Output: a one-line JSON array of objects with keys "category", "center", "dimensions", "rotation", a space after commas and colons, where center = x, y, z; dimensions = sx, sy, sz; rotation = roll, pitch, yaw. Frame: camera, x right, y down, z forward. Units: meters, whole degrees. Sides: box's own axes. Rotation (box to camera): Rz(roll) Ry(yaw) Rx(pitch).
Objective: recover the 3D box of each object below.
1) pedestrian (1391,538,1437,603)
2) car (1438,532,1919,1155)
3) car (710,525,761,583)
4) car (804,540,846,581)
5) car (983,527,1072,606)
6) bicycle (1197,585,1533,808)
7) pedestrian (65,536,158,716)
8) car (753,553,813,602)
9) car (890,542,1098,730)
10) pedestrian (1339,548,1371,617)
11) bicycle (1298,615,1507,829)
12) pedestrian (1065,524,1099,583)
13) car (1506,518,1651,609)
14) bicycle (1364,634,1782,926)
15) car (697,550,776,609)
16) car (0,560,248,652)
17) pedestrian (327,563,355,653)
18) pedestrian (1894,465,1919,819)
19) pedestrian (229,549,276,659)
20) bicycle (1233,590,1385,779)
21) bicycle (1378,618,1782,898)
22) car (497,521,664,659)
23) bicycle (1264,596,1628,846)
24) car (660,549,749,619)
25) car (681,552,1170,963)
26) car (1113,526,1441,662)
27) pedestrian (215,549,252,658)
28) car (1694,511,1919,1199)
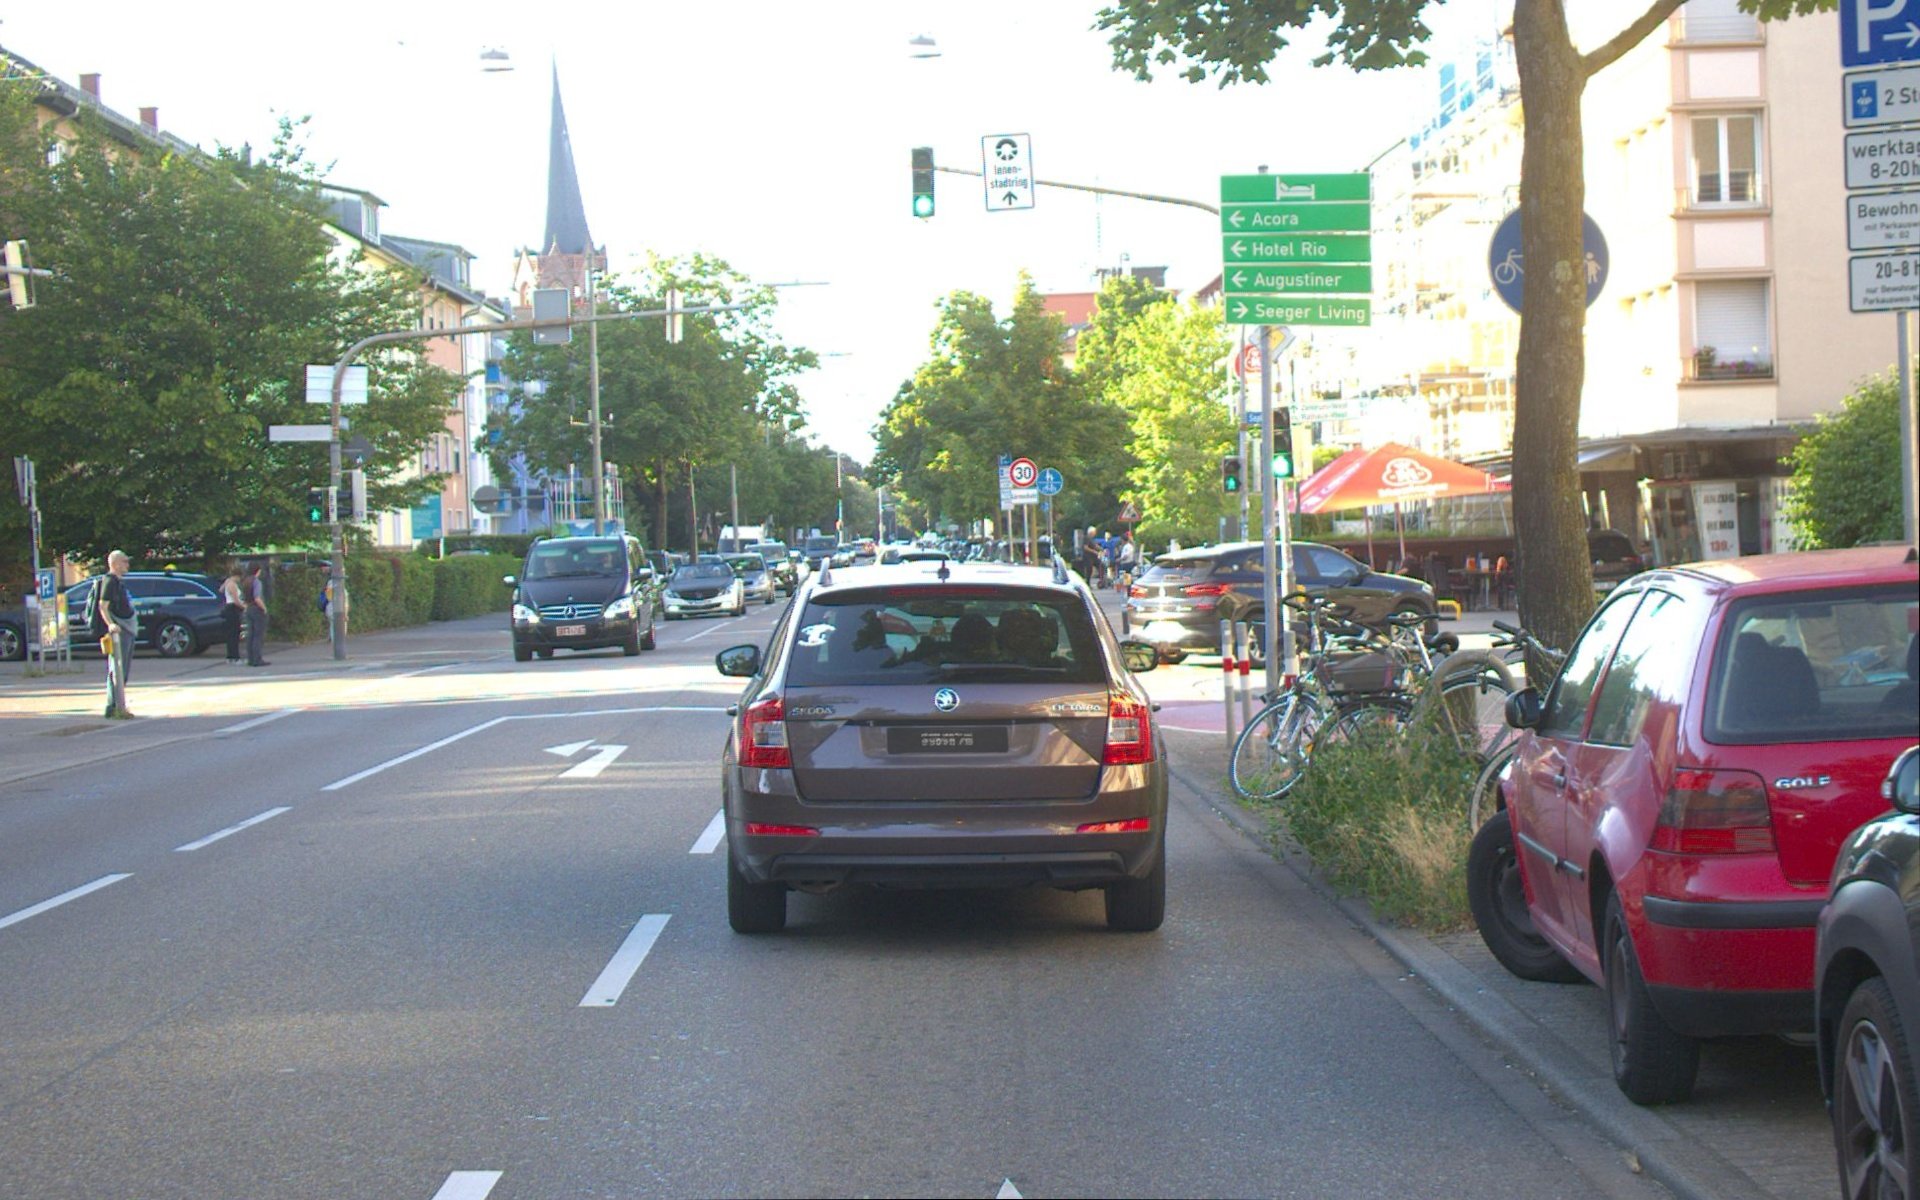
[{"category": "pedestrian", "center": [8.554, -0.563, 64.815], "dimensions": [0.729, 1.194, 0.855], "rotation": [-1, 1, 0]}, {"category": "car", "center": [2.562, 0.556, 10.362], "dimensions": [1.703, 1.445, 4.013], "rotation": [-3, 1, 1]}, {"category": "car", "center": [-9.935, -2.021, 152.231], "dimensions": [1.993, 2.469, 4.000], "rotation": [-2, 1, -1]}, {"category": "car", "center": [-6.910, -2.046, 176.337], "dimensions": [1.993, 2.007, 4.000], "rotation": [-2, 1, 0]}, {"category": "car", "center": [1.585, -0.790, 79.957], "dimensions": [1.993, 1.766, 4.000], "rotation": [0, 1, 2]}, {"category": "bicycle", "center": [2.344, 0.553, 19.984], "dimensions": [1.835, 1.153, 0.683], "rotation": [-4, 0, 6]}, {"category": "pedestrian", "center": [-9.584, 0.285, 38.847], "dimensions": [0.780, 1.981, 0.821], "rotation": [-2, 1, 0]}, {"category": "car", "center": [-5.820, -0.755, 113.466], "dimensions": [1.787, 1.565, 4.000], "rotation": [0, 1, 0]}, {"category": "car", "center": [0.286, 0.279, 30.848], "dimensions": [1.737, 1.565, 4.000], "rotation": [0, 1, 0]}, {"category": "pedestrian", "center": [7.540, -0.342, 65.691], "dimensions": [0.499, 1.298, 0.507], "rotation": [-2, 1, -3]}, {"category": "bicycle", "center": [2.381, 0.632, 18.364], "dimensions": [0.619, 1.048, 1.571], "rotation": [-1, 1, 26]}, {"category": "pedestrian", "center": [3.603, -1.376, 101.628], "dimensions": [0.675, 1.698, 0.800], "rotation": [-1, 1, 26]}, {"category": "car", "center": [10.690, -0.636, 59.652], "dimensions": [1.776, 1.481, 4.000], "rotation": [-2, 1, 0]}, {"category": "bicycle", "center": [2.434, 0.710, 13.708], "dimensions": [1.570, 1.100, 0.392], "rotation": [-1, 1, 1]}, {"category": "car", "center": [-6.498, -0.612, 100.306], "dimensions": [1.993, 1.605, 4.000], "rotation": [-2, 1, 0]}, {"category": "car", "center": [-14.851, 0.096, 59.575], "dimensions": [4.634, 1.530, 1.862], "rotation": [-1, 1, -1]}, {"category": "pedestrian", "center": [-10.420, 0.128, 57.864], "dimensions": [0.301, 1.499, 0.640], "rotation": [-2, 1, 0]}, {"category": "pedestrian", "center": [5.027, 0.198, 16.849], "dimensions": [0.663, 1.743, 0.772], "rotation": [-3, 0, 6]}, {"category": "pedestrian", "center": [-11.645, 0.063, 56.591], "dimensions": [0.616, 1.791, 0.504], "rotation": [-2, 1, 0]}, {"category": "bicycle", "center": [2.249, 0.524, 22.364], "dimensions": [0.501, 1.143, 1.959], "rotation": [-4, 0, -6]}, {"category": "bicycle", "center": [2.570, 0.650, 14.343], "dimensions": [1.570, 1.100, 0.501], "rotation": [-1, 1, 1]}, {"category": "car", "center": [-5.757, -0.184, 52.751], "dimensions": [1.993, 1.902, 4.964], "rotation": [-4, 1, -1]}, {"category": "bicycle", "center": [2.391, 0.592, 17.025], "dimensions": [1.687, 1.104, 0.517], "rotation": [-4, 0, 6]}, {"category": "car", "center": [-6.112, -0.401, 82.543], "dimensions": [1.830, 1.574, 4.000], "rotation": [-2, 1, -1]}, {"category": "car", "center": [-0.171, 0.542, 14.673], "dimensions": [1.773, 1.484, 4.311], "rotation": [0, 1, -1]}, {"category": "car", "center": [4.002, -0.089, 43.022], "dimensions": [3.989, 1.546, 1.805], "rotation": [-2, 1, -42]}, {"category": "pedestrian", "center": [-12.077, 0.053, 57.143], "dimensions": [0.449, 1.791, 0.504], "rotation": [-2, 1, 0]}, {"category": "car", "center": [2.548, 0.603, 5.219], "dimensions": [1.855, 1.576, 4.014], "rotation": [-3, 1, -1]}]
